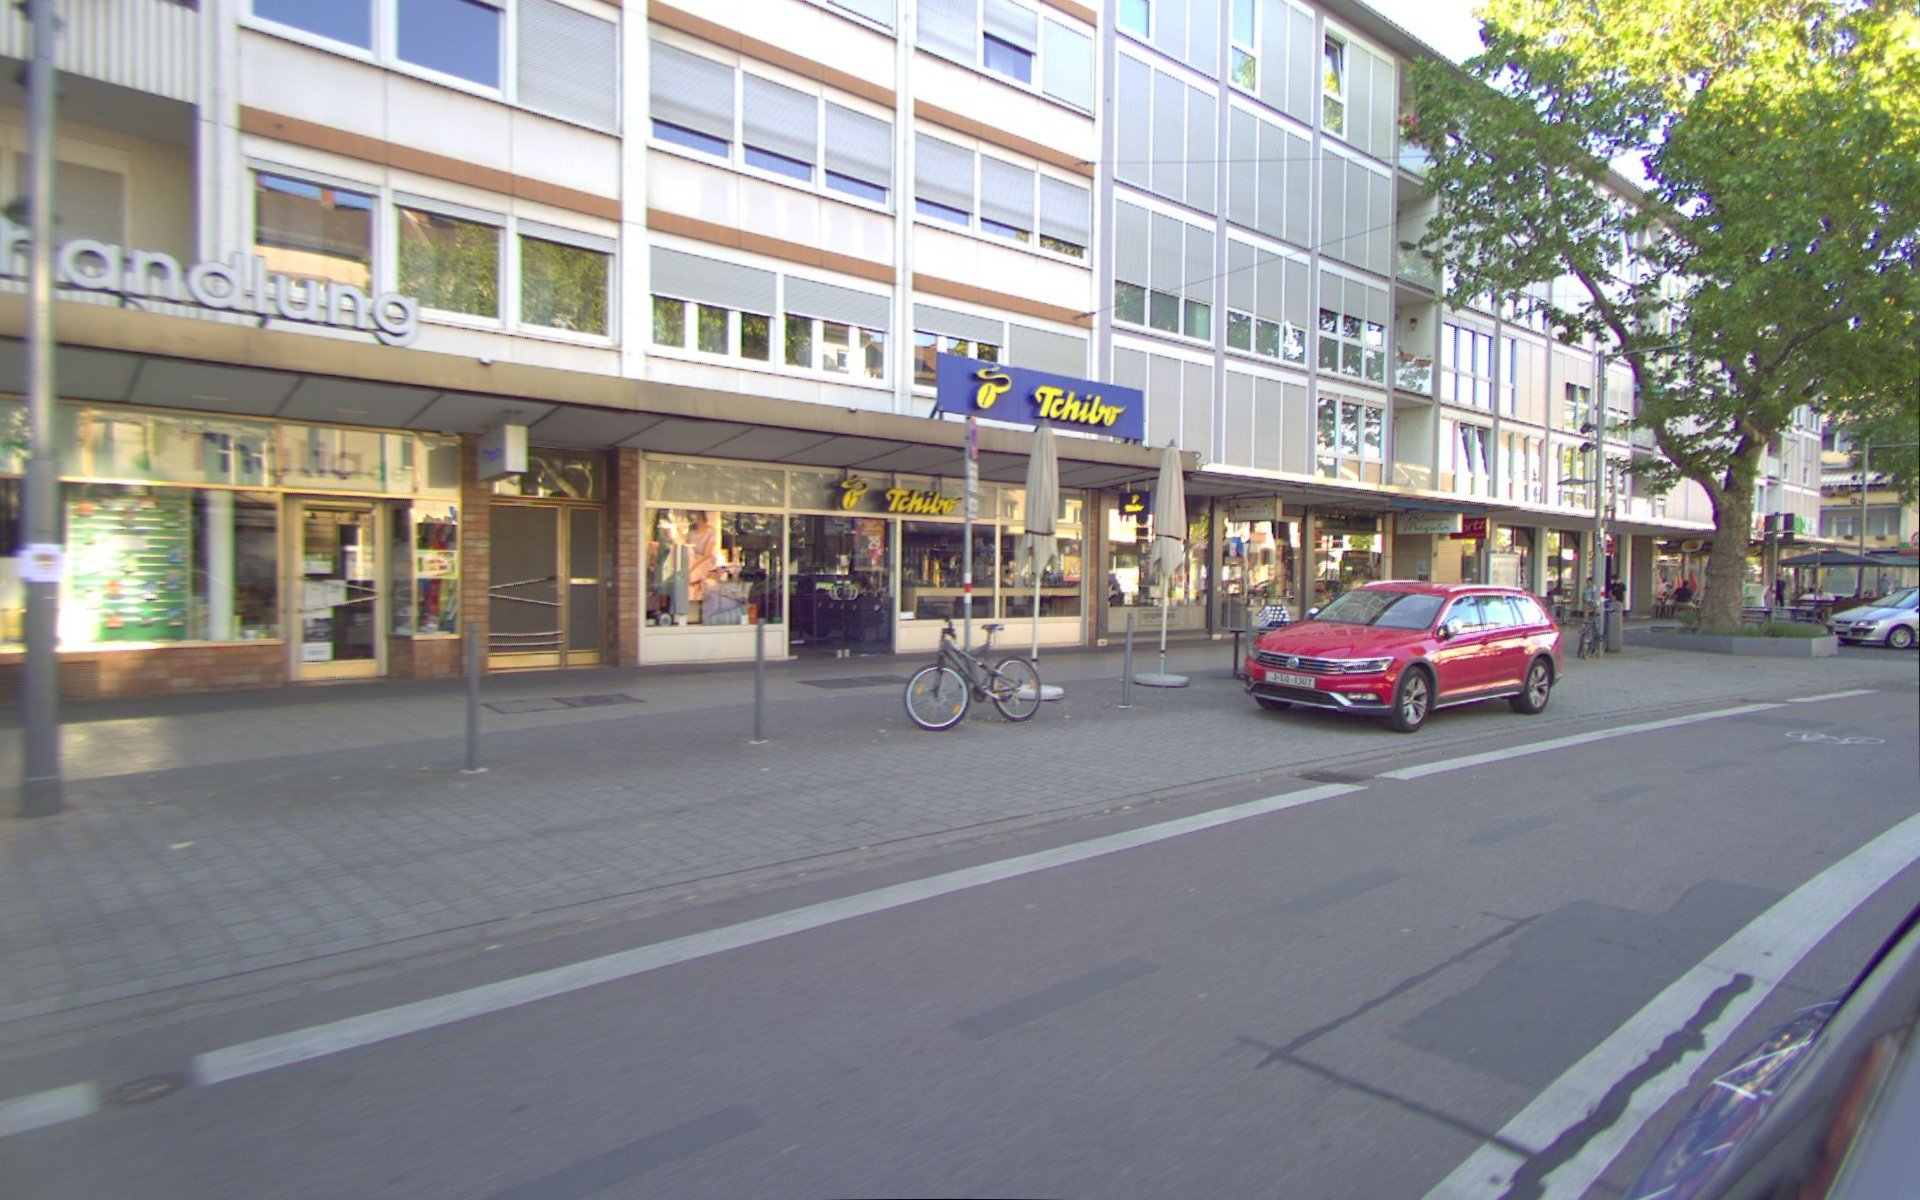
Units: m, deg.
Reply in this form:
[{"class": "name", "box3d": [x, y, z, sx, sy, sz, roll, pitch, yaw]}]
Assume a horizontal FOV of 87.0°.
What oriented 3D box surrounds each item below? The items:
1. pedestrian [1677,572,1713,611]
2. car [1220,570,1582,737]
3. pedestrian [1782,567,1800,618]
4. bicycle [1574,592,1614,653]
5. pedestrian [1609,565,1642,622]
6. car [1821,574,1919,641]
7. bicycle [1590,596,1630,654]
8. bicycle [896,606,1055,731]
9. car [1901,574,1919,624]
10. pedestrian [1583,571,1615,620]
[{"class": "pedestrian", "box3d": [26.744, -0.315, 36.815, 0.943, 1.379, 0.751, 0, 1, -33]}, {"class": "car", "box3d": [5.171, 0.458, 11.619, 4.482, 1.514, 1.784, -1, 4, -37]}, {"class": "pedestrian", "box3d": [33.811, -0.308, 41.180, 0.549, 2.039, 0.569, -1, -1, 39]}, {"class": "bicycle", "box3d": [12.469, 0.419, 19.889, 0.294, 1.114, 1.692, 5, 4, 43]}, {"class": "pedestrian", "box3d": [19.434, -0.197, 29.554, 0.674, 1.610, 0.538, -1, 4, -38]}, {"class": "car", "box3d": [24.500, 0.184, 25.465, 3.929, 1.626, 1.807, 1, 2, 5]}, {"class": "bicycle", "box3d": [12.645, 0.469, 19.665, 0.294, 1.053, 1.692, 5, 5, 43]}, {"class": "bicycle", "box3d": [0.178, 0.630, 9.947, 1.633, 1.083, 0.512, -1, 3, -42]}, {"class": "car", "box3d": [30.426, 0.022, 29.586, 3.935, 1.454, 1.656, 1, 3, 10]}, {"class": "pedestrian", "box3d": [19.019, -0.130, 30.107, 0.674, 1.417, 0.538, -1, 4, -38]}]
